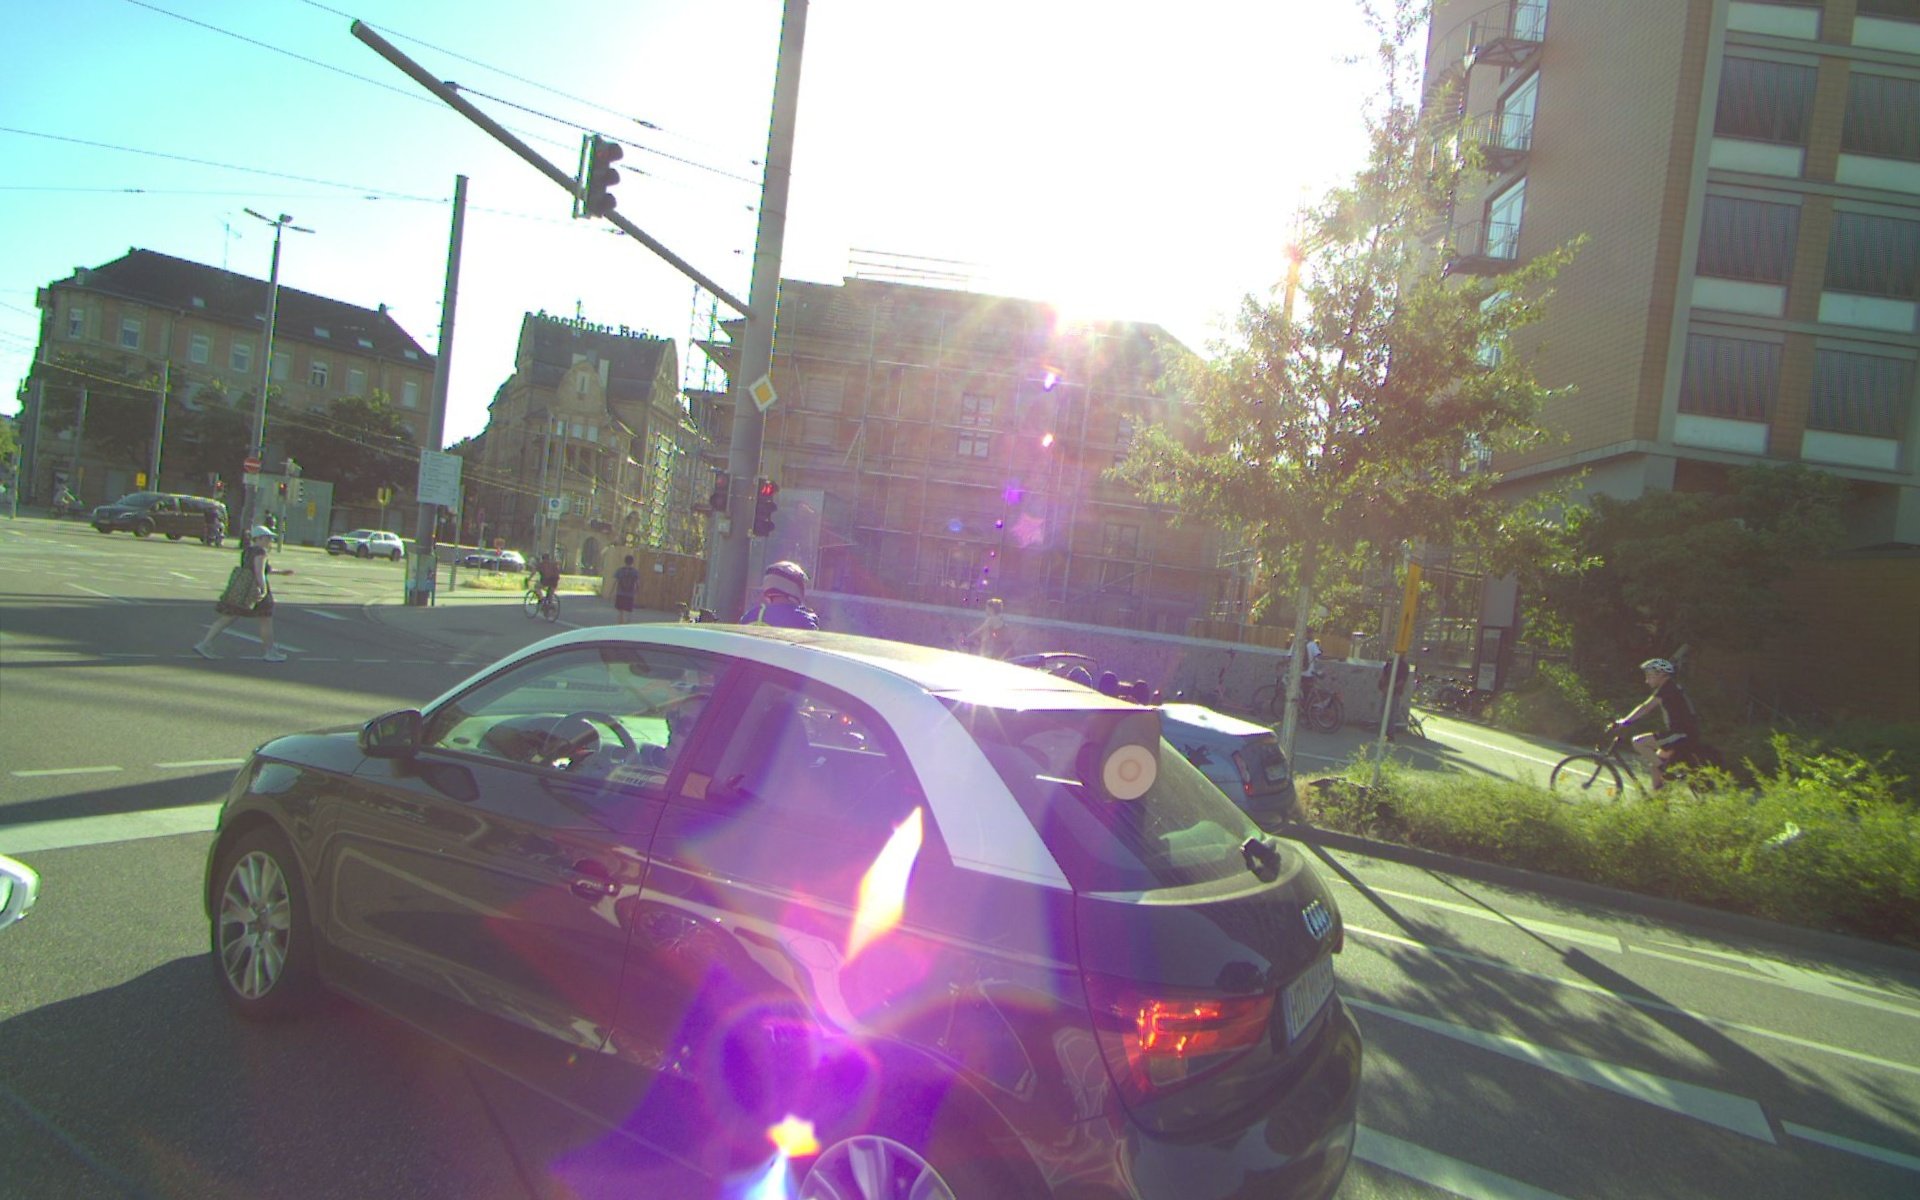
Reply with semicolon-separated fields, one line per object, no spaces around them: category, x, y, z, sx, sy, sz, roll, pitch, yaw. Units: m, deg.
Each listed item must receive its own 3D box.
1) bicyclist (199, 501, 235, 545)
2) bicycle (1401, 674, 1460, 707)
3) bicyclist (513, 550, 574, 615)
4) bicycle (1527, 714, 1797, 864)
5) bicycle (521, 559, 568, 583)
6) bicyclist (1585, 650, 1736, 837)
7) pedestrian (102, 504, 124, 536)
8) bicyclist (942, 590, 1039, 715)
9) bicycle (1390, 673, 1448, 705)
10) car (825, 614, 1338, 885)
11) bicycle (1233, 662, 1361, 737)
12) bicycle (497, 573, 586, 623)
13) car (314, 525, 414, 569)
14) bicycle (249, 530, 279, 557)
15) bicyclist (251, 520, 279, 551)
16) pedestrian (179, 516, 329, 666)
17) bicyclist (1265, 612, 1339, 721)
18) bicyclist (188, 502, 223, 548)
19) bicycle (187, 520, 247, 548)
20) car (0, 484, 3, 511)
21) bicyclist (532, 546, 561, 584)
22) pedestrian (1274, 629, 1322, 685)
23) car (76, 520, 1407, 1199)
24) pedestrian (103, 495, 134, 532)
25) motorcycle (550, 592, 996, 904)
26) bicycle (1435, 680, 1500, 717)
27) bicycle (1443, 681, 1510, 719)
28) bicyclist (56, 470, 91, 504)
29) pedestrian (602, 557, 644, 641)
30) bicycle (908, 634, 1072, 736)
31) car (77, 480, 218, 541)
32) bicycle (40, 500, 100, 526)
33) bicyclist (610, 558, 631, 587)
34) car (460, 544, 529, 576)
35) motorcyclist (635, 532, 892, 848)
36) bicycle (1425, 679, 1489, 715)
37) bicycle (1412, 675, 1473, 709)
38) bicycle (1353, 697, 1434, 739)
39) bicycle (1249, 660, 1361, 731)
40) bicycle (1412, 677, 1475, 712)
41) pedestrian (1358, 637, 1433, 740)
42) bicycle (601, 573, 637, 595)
bicyclist;-31.411;-3.249;42.529;0.845;1.711;0.651;8;1;-4
bicycle;15.575;2.994;33.334;1.623;0.868;0.529;7;1;1
bicyclist;-9.828;-0.408;23.756;1.058;1.401;0.721;5;-1;32
bicycle;7.723;2.049;11.232;2.250;1.170;0.779;7;1;26
bicycle;-20.496;-1.424;49.721;0.844;0.885;2.503;9;0;11
bicyclist;7.770;1.552;11.220;1.074;1.853;0.779;7;1;26
pedestrian;-47.376;-4.460;56.249;0.547;1.674;0.640;6;1;-6
bicyclist;0.455;0.762;15.002;1.074;1.700;0.778;7;4;30
bicycle;15.512;3.001;33.992;1.623;0.868;0.529;7;1;1
car;0.962;1.130;8.747;3.915;1.461;1.803;7;-1;35
bicycle;6.012;1.748;17.995;1.935;1.052;0.788;6;2;40
bicycle;-9.898;-0.053;23.772;2.212;0.964;0.721;5;-1;32
car;-32.207;-2.806;54.555;1.916;1.821;4.853;7;0;8
bicycle;-30.568;-2.493;44.159;0.854;0.916;2.278;8;0;-38
bicyclist;-30.469;-2.811;44.078;0.853;1.191;0.707;8;1;-38
pedestrian;-8.347;-0.080;11.926;0.686;1.626;1.096;9;1;21
bicyclist;6.098;1.169;17.938;0.881;1.810;0.785;6;2;40
bicyclist;-31.385;-3.110;41.859;0.851;1.800;0.584;7;1;-3
bicycle;-31.472;-2.770;42.664;0.845;0.916;2.302;9;0;-3
car;-32.796;-3.230;31.565;1.921;1.504;4.095;7;0;-10
bicyclist;-20.433;-1.739;49.768;0.844;1.711;0.748;9;1;11
pedestrian;13.465;2.284;40.143;1.278;2.039;0.993;7;1;-14
car;-0.819;0.736;3.287;3.910;1.461;1.805;7;-1;29
pedestrian;-42.852;-4.408;51.231;0.770;1.697;0.925;7;1;31
motorcycle;-1.239;0.805;6.368;2.610;1.394;1.097;6;-1;33
bicycle;15.337;2.976;30.413;1.623;0.868;0.529;7;1;1
bicycle;15.328;2.959;29.852;1.623;0.868;0.529;7;1;1
bicyclist;-46.765;-5.960;53.071;0.844;1.578;0.927;9;1;9
pedestrian;-7.179;-0.036;21.416;0.688;1.693;0.825;5;2;-20
bicycle;0.425;1.221;15.024;2.252;1.172;0.778;7;3;30
car;-34.174;-3.699;42.523;1.918;1.916;4.849;7;0;-1
bicycle;-46.969;-4.577;53.114;0.844;0.991;2.305;9;0;9
bicyclist;-21.760;-1.753;64.499;0.844;1.711;0.651;9;1;14
car;-30.657;-2.624;66.447;1.915;1.582;4.360;9;0;8
motorcyclist;-1.217;0.539;6.376;0.921;1.742;1.097;6;-1;33
bicycle;15.314;2.977;30.995;1.623;0.868;0.529;7;1;1
bicycle;15.639;2.964;32.618;1.623;0.868;0.529;7;1;1
bicycle;8.266;2.247;19.214;1.332;0.547;0.430;7;2;18
bicycle;6.444;1.767;18.898;0.621;1.052;1.946;4;1;-32
bicycle;15.195;2.973;31.622;1.623;0.868;0.529;7;1;1
pedestrian;7.678;1.559;17.733;0.803;1.677;0.781;9;-2;-42
bicycle;-21.875;-0.992;64.509;0.844;1.147;2.503;9;0;14
